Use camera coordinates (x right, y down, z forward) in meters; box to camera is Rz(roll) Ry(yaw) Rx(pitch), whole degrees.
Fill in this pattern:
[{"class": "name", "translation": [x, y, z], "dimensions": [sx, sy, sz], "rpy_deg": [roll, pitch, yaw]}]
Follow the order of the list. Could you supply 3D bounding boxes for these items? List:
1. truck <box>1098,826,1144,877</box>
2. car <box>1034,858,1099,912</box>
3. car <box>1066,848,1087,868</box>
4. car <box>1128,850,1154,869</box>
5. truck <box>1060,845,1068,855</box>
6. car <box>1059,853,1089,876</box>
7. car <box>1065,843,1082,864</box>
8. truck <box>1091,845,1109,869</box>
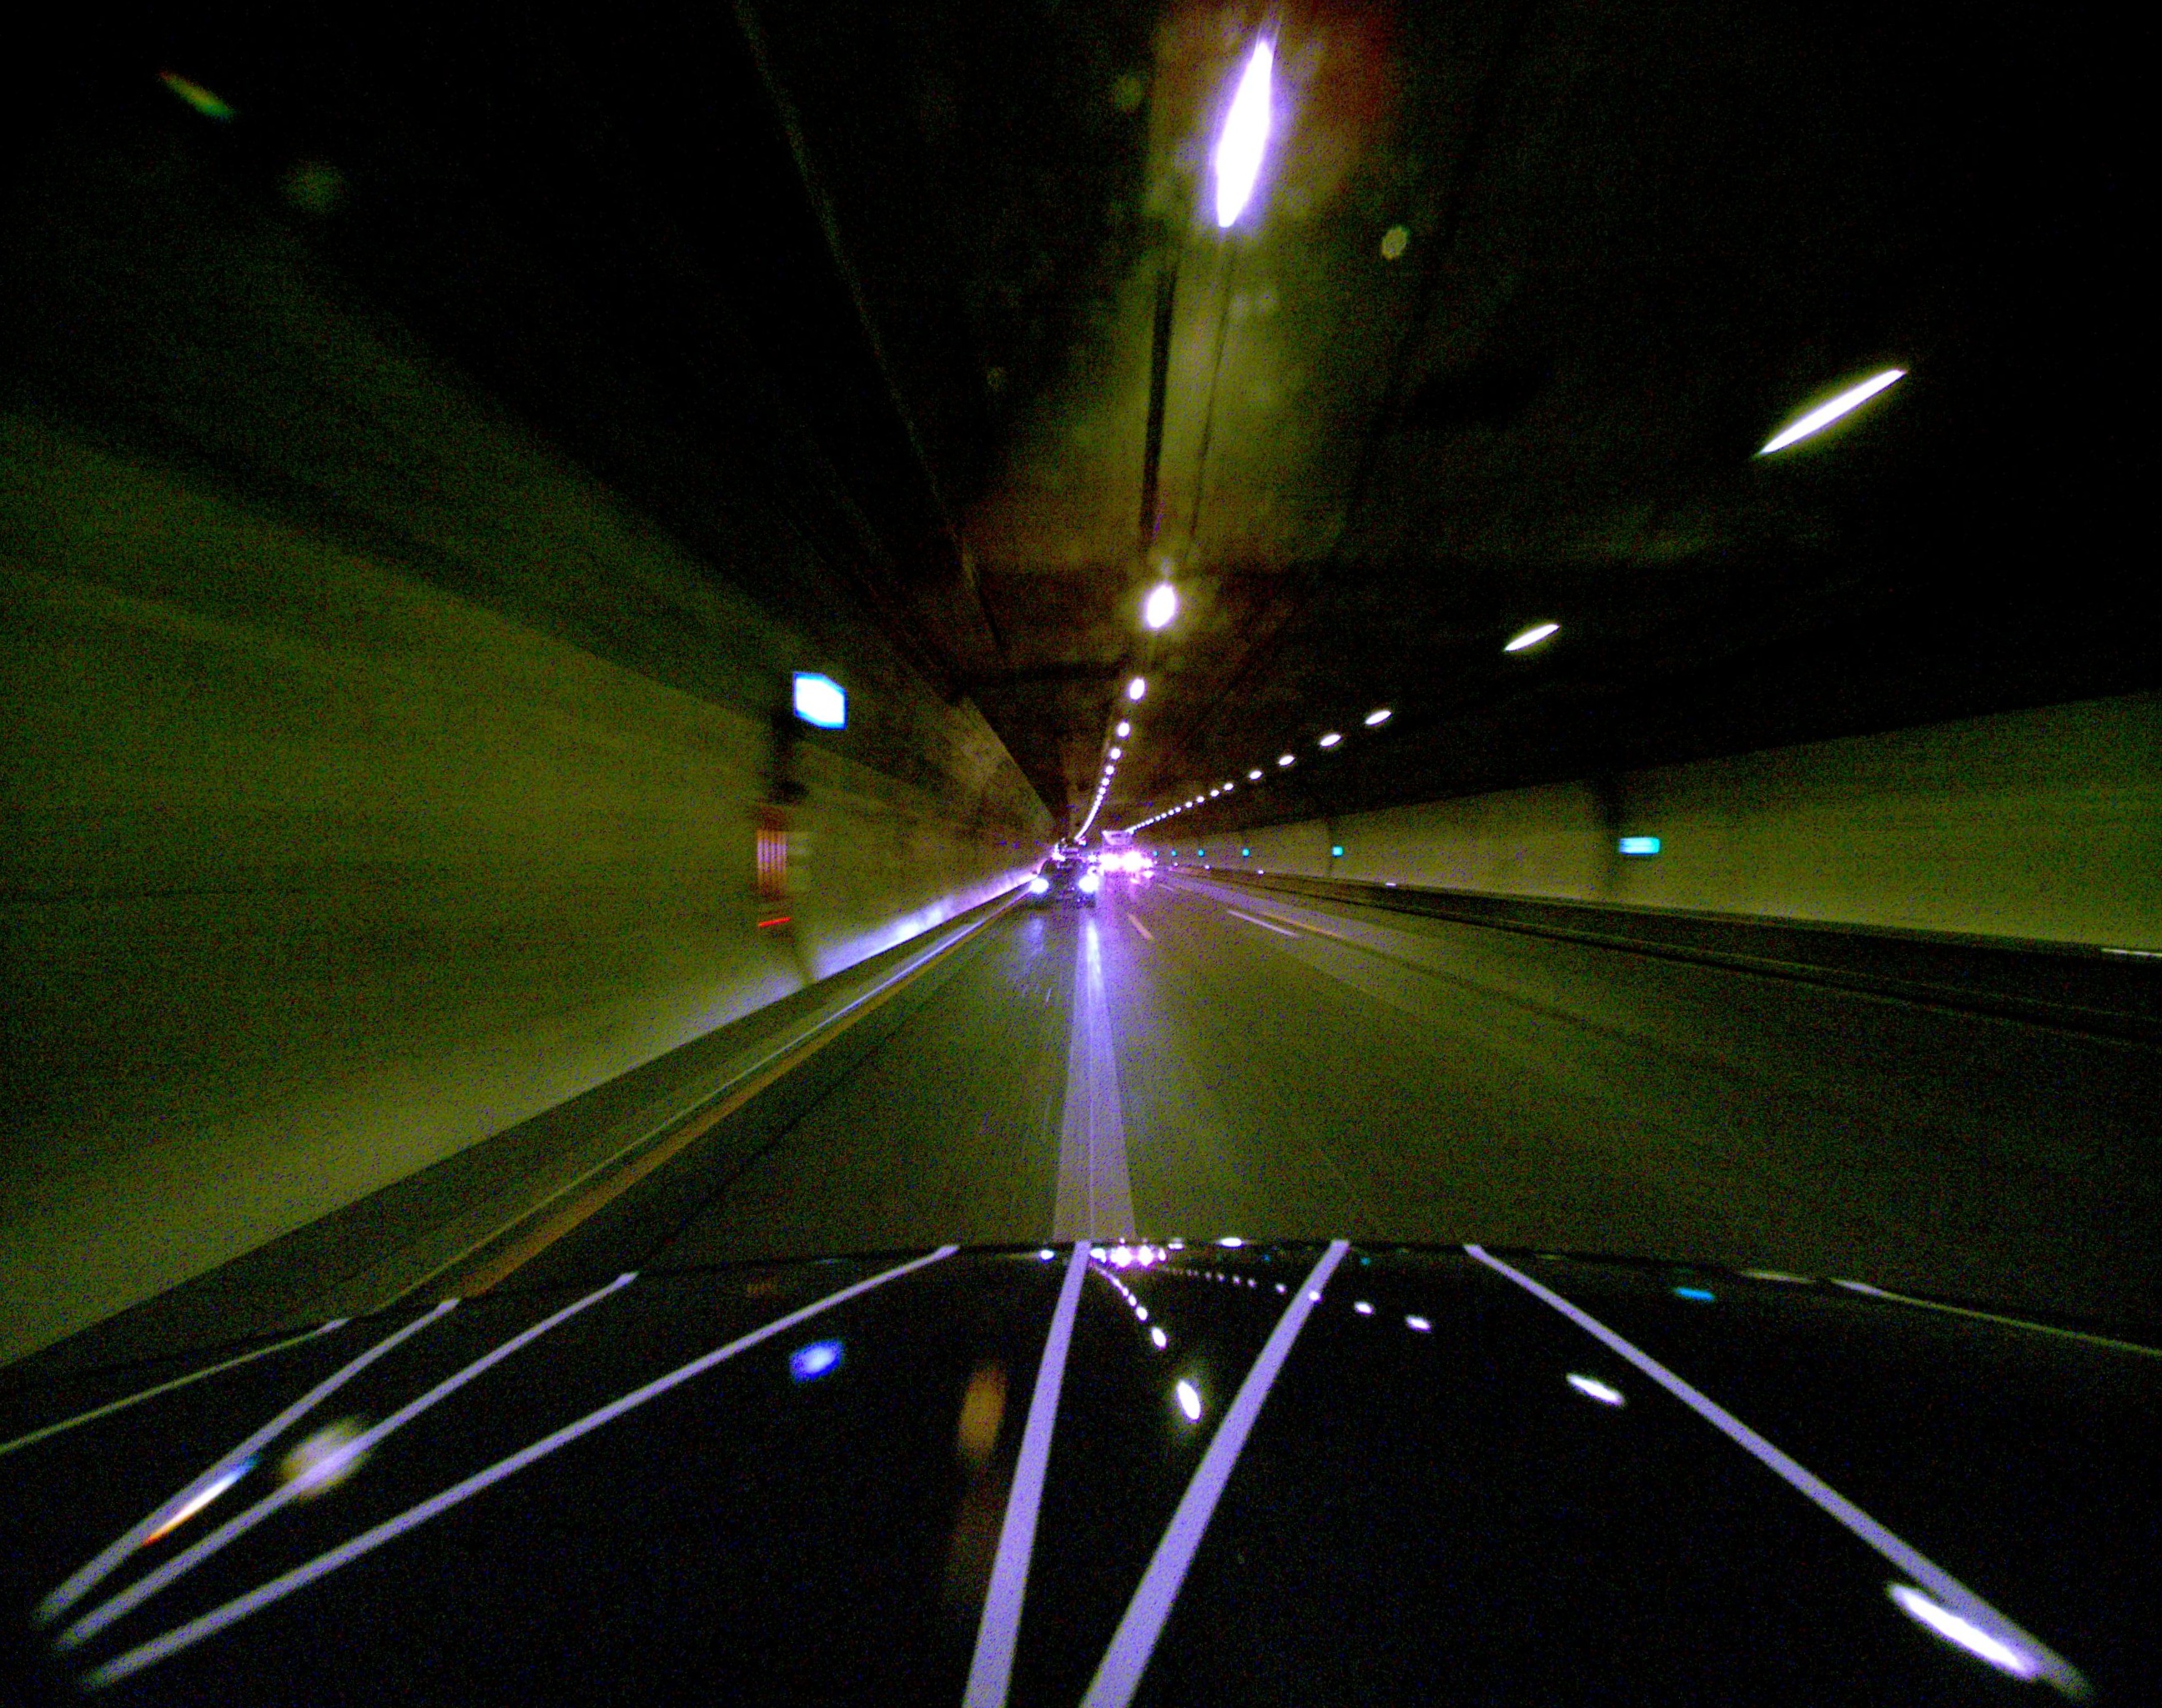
[{"class": "truck", "translation": [2.729, -0.195, 54.281], "dimensions": [2.534, 3.314, 7.714], "rpy_deg": [-2, 0, -2]}, {"class": "car", "translation": [-0.505, 0.909, 24.259], "dimensions": [1.826, 1.469, 4.520], "rpy_deg": [-2, 0, -2]}, {"class": "car", "translation": [-0.521, 0.424, 81.334], "dimensions": [1.999, 2.002, 4.852], "rpy_deg": [-2, 0, -3]}, {"class": "car", "translation": [5.327, 0.465, 67.591], "dimensions": [1.998, 1.531, 4.851], "rpy_deg": [-2, 1, 1]}, {"class": "truck", "translation": [-5.978, -1.406, 264.140], "dimensions": [2.208, 3.449, 11.766], "rpy_deg": [-1, 0, 2]}, {"class": "car", "translation": [-0.547, 0.742, 56.027], "dimensions": [1.999, 1.531, 4.741], "rpy_deg": [-2, 1, -2]}, {"class": "car", "translation": [-1.053, -0.128, 103.273], "dimensions": [1.999, 2.710, 6.272], "rpy_deg": [-2, 1, -2]}, {"class": "truck", "translation": [2.553, 0.418, 103.629], "dimensions": [2.162, 3.098, 6.030], "rpy_deg": [-2, 1, 1]}]
